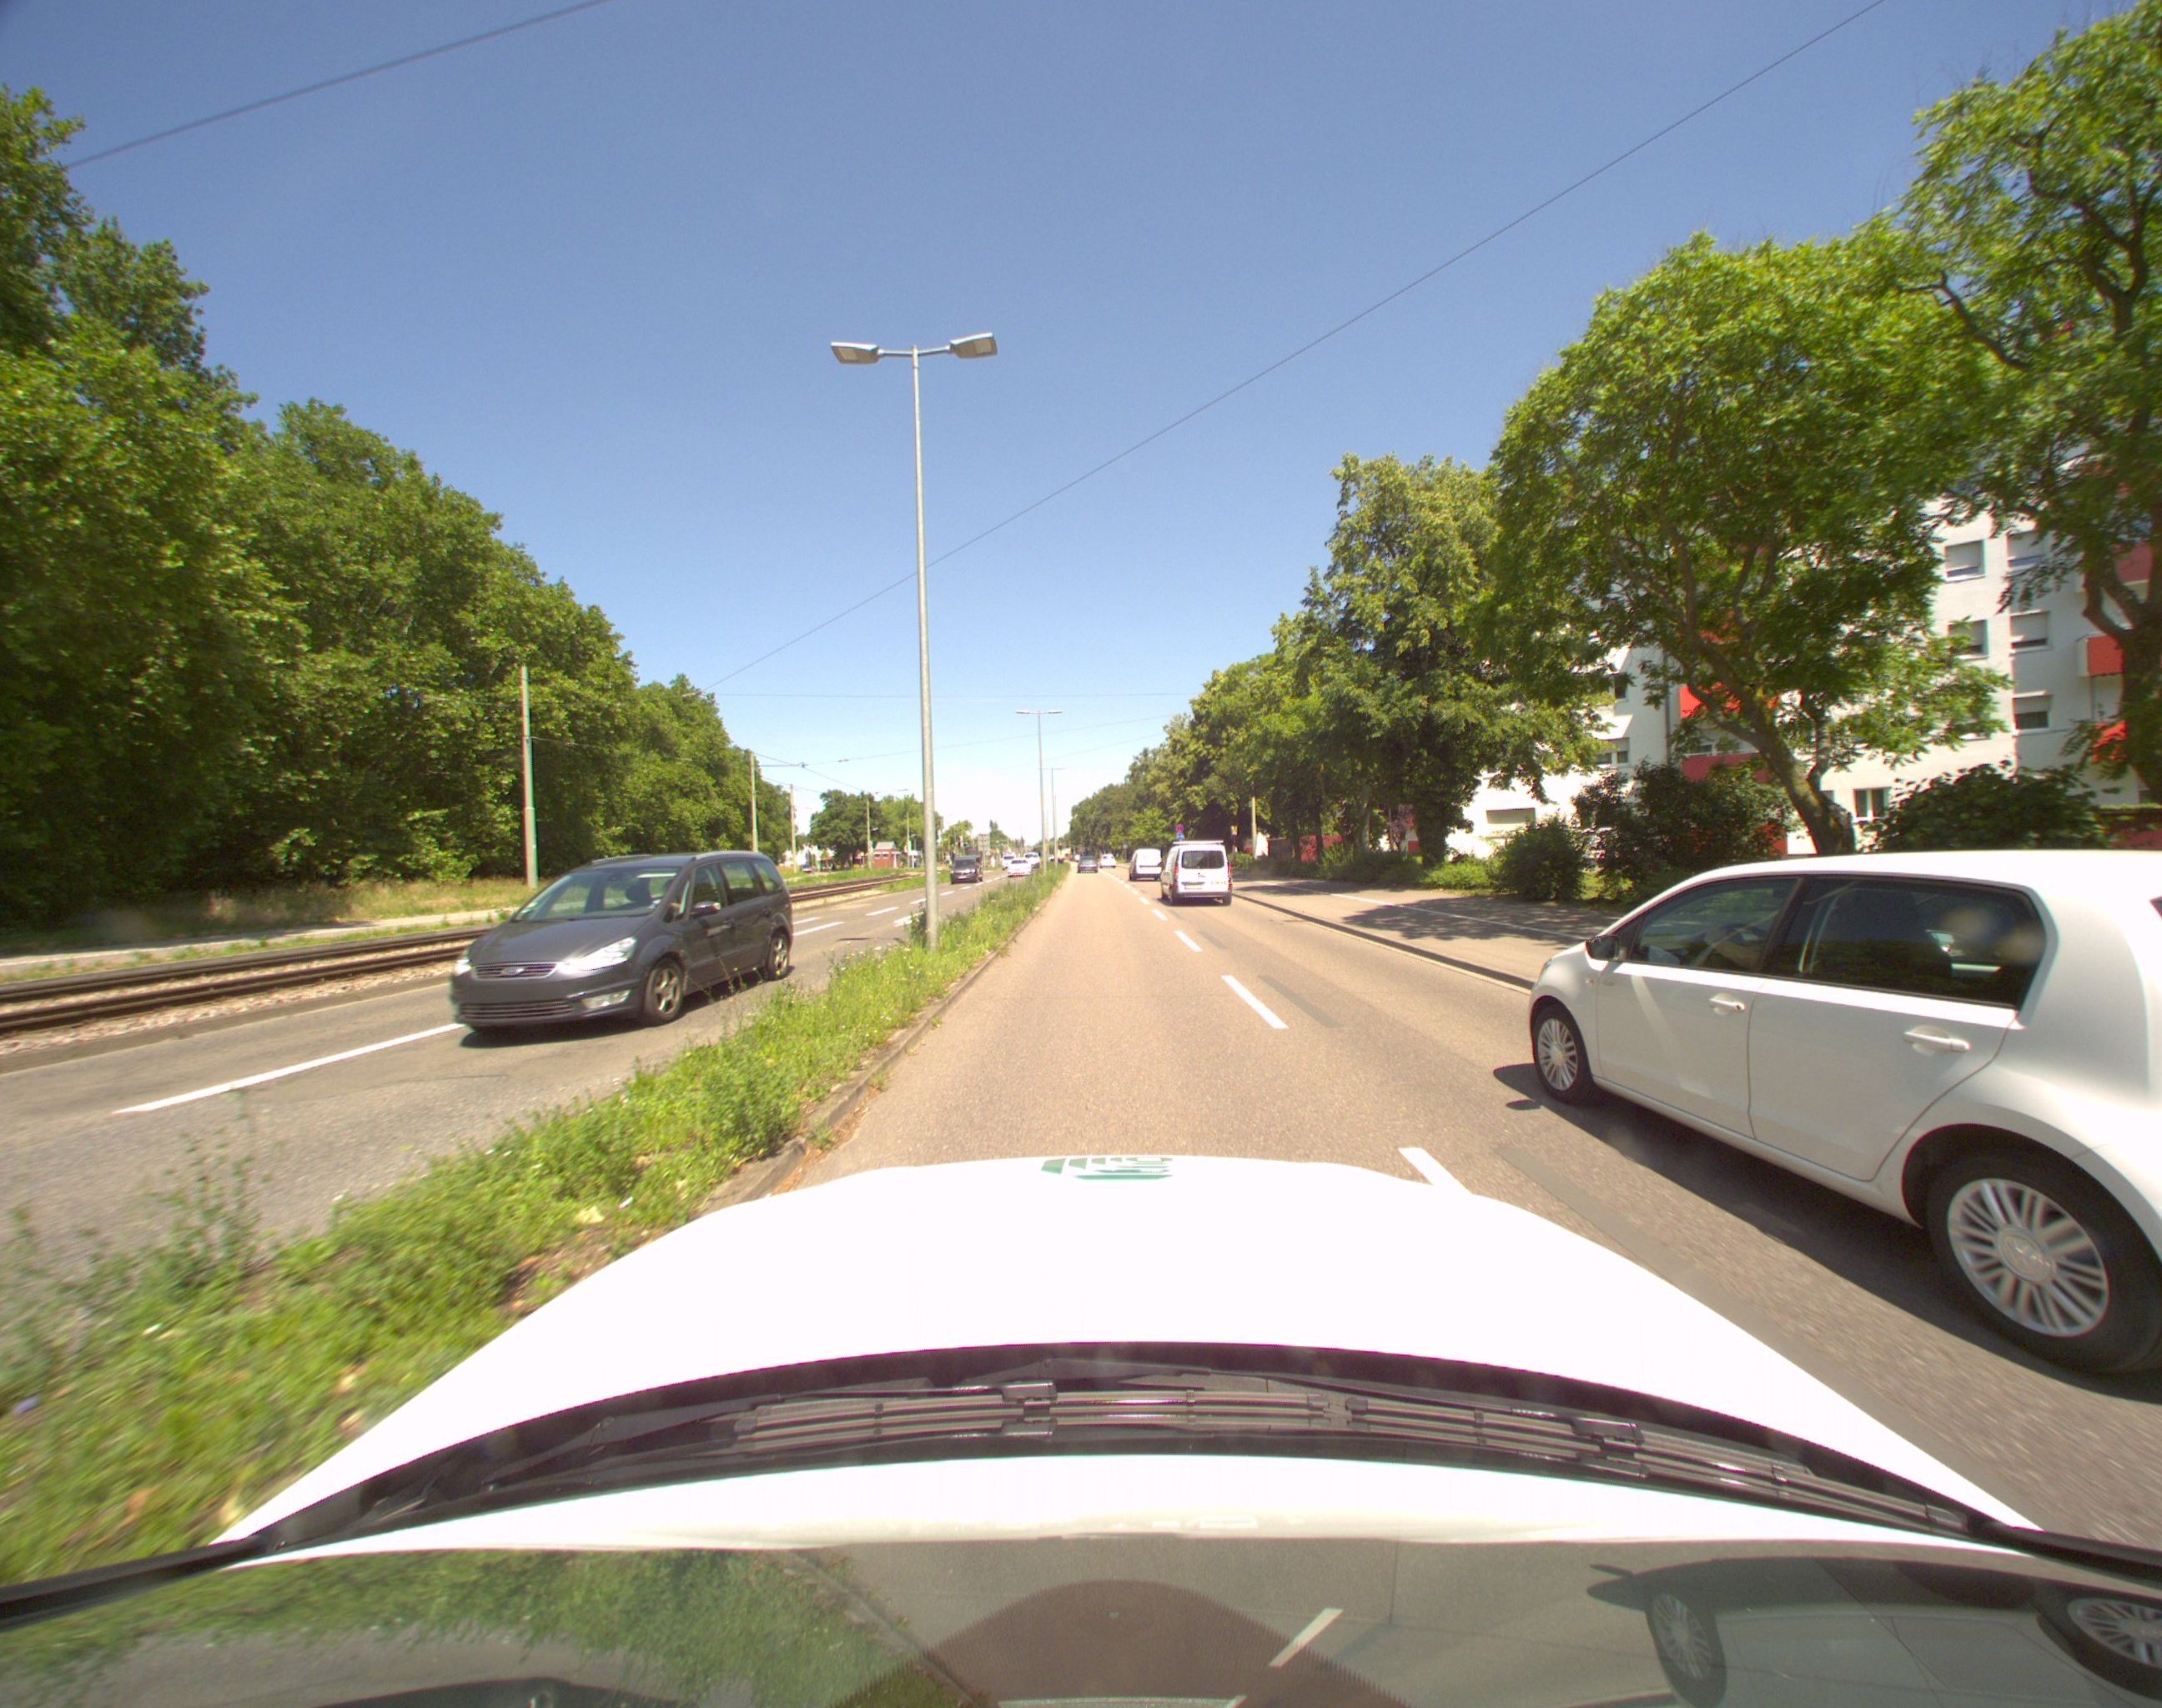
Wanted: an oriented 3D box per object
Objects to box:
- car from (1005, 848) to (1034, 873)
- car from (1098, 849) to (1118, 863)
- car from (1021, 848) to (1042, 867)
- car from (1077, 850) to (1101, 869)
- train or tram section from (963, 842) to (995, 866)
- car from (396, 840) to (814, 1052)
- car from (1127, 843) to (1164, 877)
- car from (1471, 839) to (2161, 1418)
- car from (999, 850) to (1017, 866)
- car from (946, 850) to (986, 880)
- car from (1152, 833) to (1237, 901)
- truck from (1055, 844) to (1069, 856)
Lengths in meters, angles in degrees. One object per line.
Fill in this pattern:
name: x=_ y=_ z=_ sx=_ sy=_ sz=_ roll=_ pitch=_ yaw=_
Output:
car: x=-4.792 y=0.484 z=64.261 sx=1.823 sy=1.738 sz=4.038 roll=-3 pitch=0 yaw=1
car: x=3.010 y=0.200 z=92.057 sx=1.800 sy=1.540 sz=3.994 roll=-2 pitch=0 yaw=-4
car: x=-5.516 y=0.387 z=91.321 sx=1.823 sy=1.906 sz=5.567 roll=-3 pitch=0 yaw=1
car: x=0.648 y=0.458 z=69.275 sx=1.797 sy=1.486 sz=3.997 roll=-2 pitch=0 yaw=-2
train or tram section: x=-17.793 y=-0.012 z=144.686 sx=2.782 sy=3.668 sz=37.473 roll=-2 pitch=0 yaw=-3
car: x=-4.867 y=0.768 z=9.377 sx=1.823 sy=1.713 sz=4.794 roll=-3 pitch=0 yaw=1
car: x=3.645 y=0.318 z=46.640 sx=1.722 sy=1.813 sz=3.999 roll=-1 pitch=1 yaw=-1
car: x=3.580 y=0.674 z=3.891 sx=1.653 sy=1.449 sz=3.856 roll=-1 pitch=0 yaw=1
car: x=-9.932 y=0.565 z=110.451 sx=1.883 sy=2.017 sz=5.081 roll=-4 pitch=0 yaw=-1
car: x=-7.618 y=0.668 z=54.443 sx=1.823 sy=1.801 sz=4.615 roll=-3 pitch=0 yaw=1
car: x=3.386 y=0.372 z=25.120 sx=1.820 sy=1.882 sz=4.452 roll=-1 pitch=0 yaw=-2
truck: x=-6.087 y=-1.280 z=260.613 sx=3.891 sy=3.812 sz=10.779 roll=-3 pitch=0 yaw=-3
